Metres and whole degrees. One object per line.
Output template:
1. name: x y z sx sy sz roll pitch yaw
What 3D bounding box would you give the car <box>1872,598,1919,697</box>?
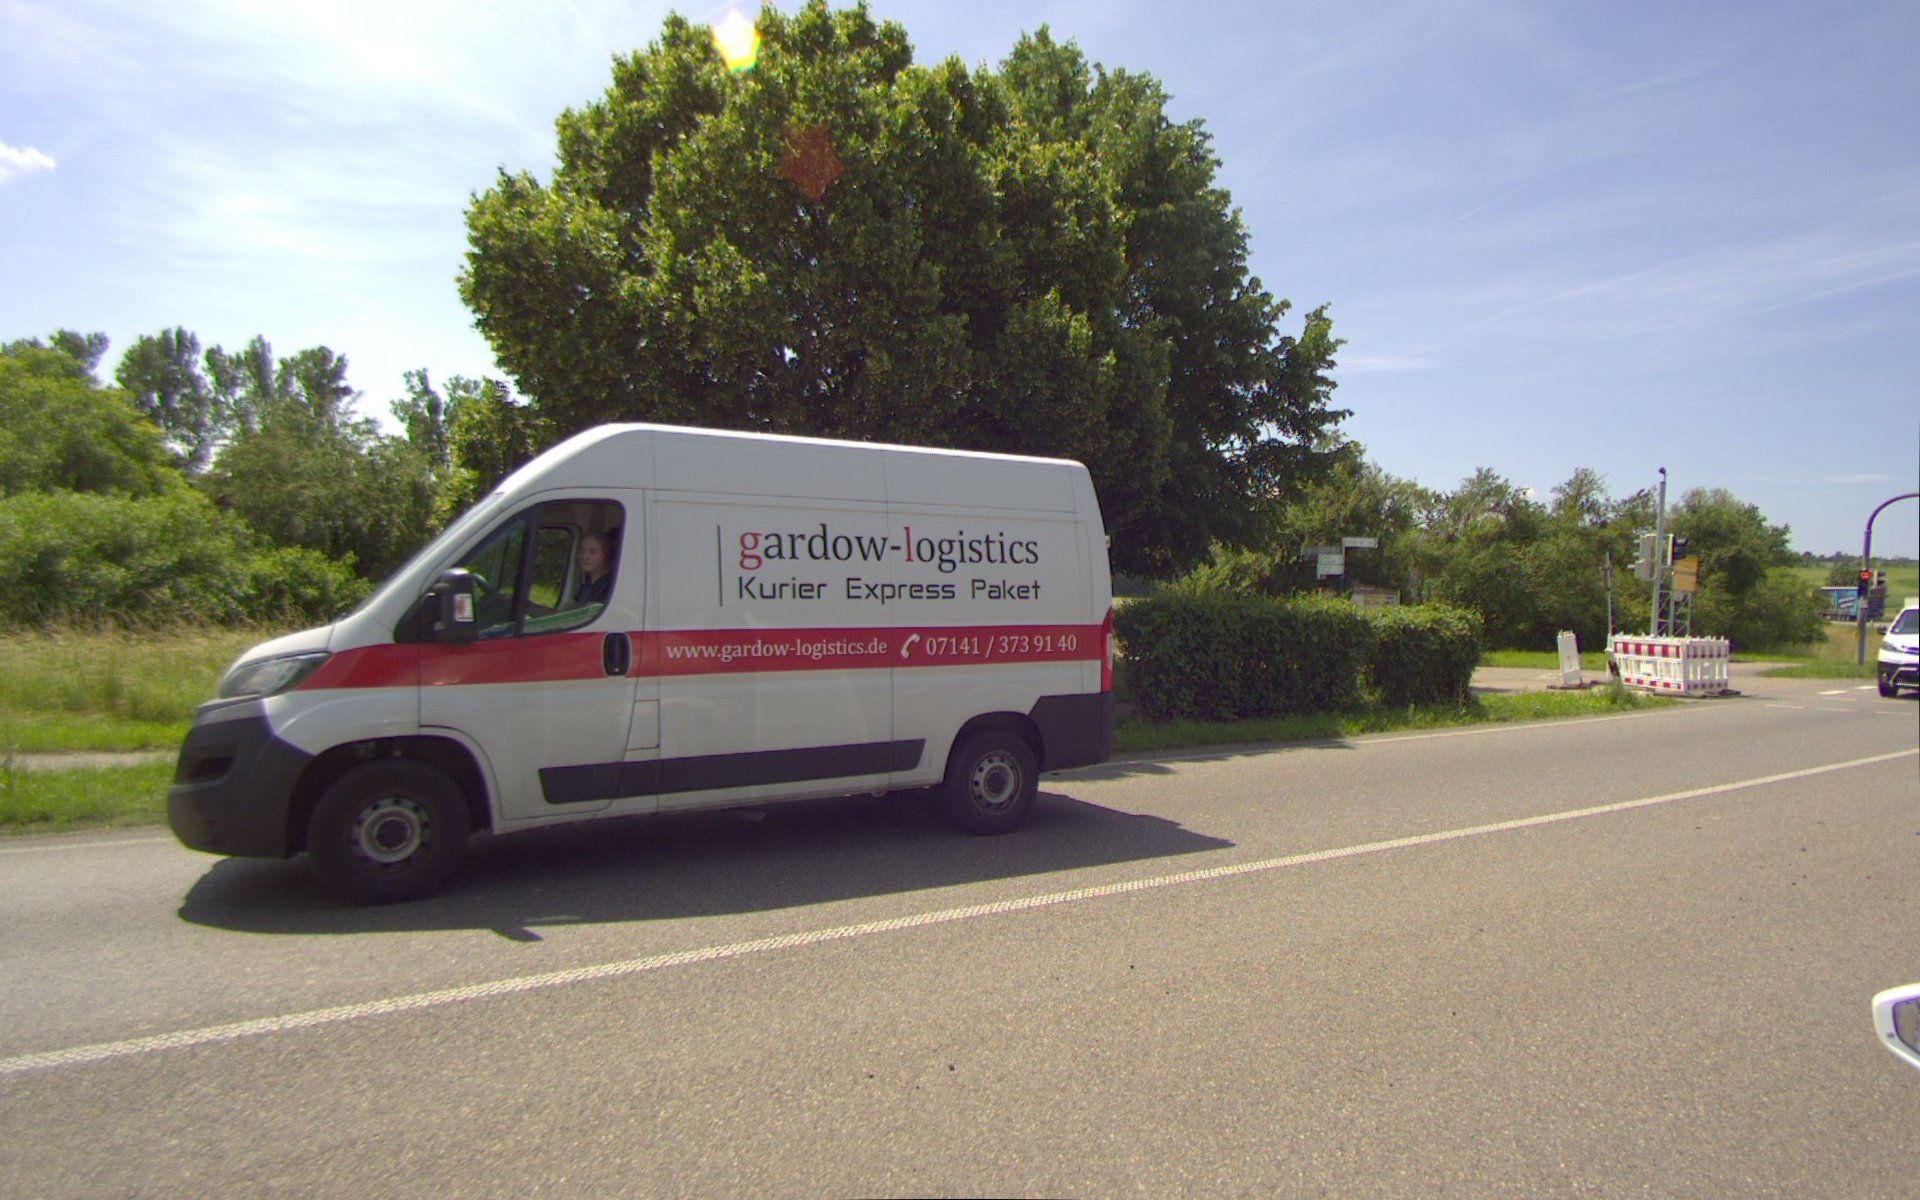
1. car: 20.489 0.960 20.671 4.909 1.911 1.856 2 -1 -39

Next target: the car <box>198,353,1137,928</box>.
1. car: -1.520 0.225 6.543 5.206 2.484 2.041 1 -1 -30

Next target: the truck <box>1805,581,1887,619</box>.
1. truck: 109.643 0.087 124.605 3.473 4.296 13.400 2 -1 23

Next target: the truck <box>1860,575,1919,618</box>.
1. truck: 102.918 -0.282 109.118 3.579 4.184 13.092 2 -1 23
